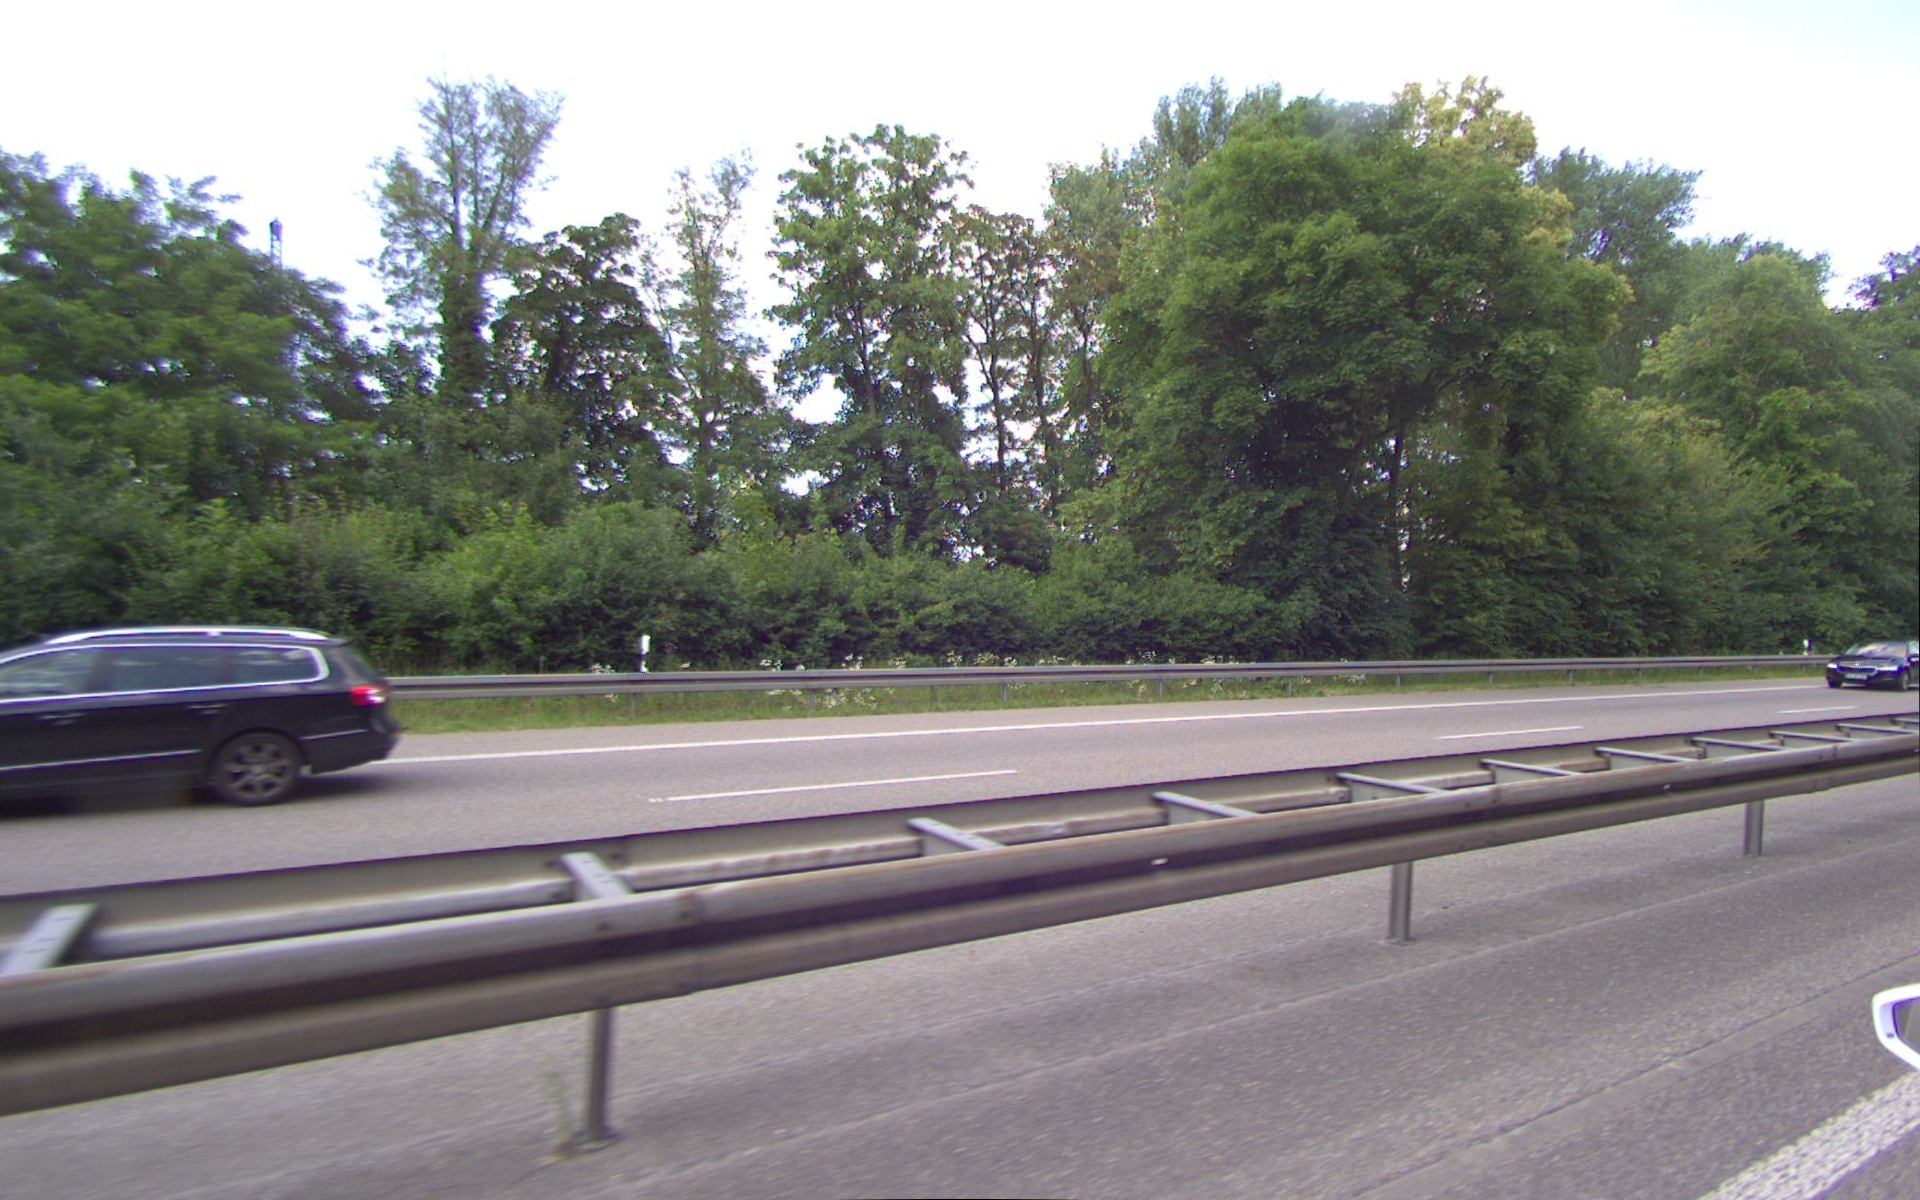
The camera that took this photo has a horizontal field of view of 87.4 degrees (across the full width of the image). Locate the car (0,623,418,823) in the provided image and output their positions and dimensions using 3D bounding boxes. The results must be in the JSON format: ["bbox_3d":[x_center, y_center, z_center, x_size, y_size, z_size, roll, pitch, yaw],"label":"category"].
[{"bbox_3d":[-7.375,0.990,8.883,4.515,1.497,1.777,1,0,-30],"label":"car"}]

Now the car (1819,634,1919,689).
[{"bbox_3d":[28.102,1.819,30.470,4.803,1.539,1.671,1,-2,-31],"label":"car"}]
